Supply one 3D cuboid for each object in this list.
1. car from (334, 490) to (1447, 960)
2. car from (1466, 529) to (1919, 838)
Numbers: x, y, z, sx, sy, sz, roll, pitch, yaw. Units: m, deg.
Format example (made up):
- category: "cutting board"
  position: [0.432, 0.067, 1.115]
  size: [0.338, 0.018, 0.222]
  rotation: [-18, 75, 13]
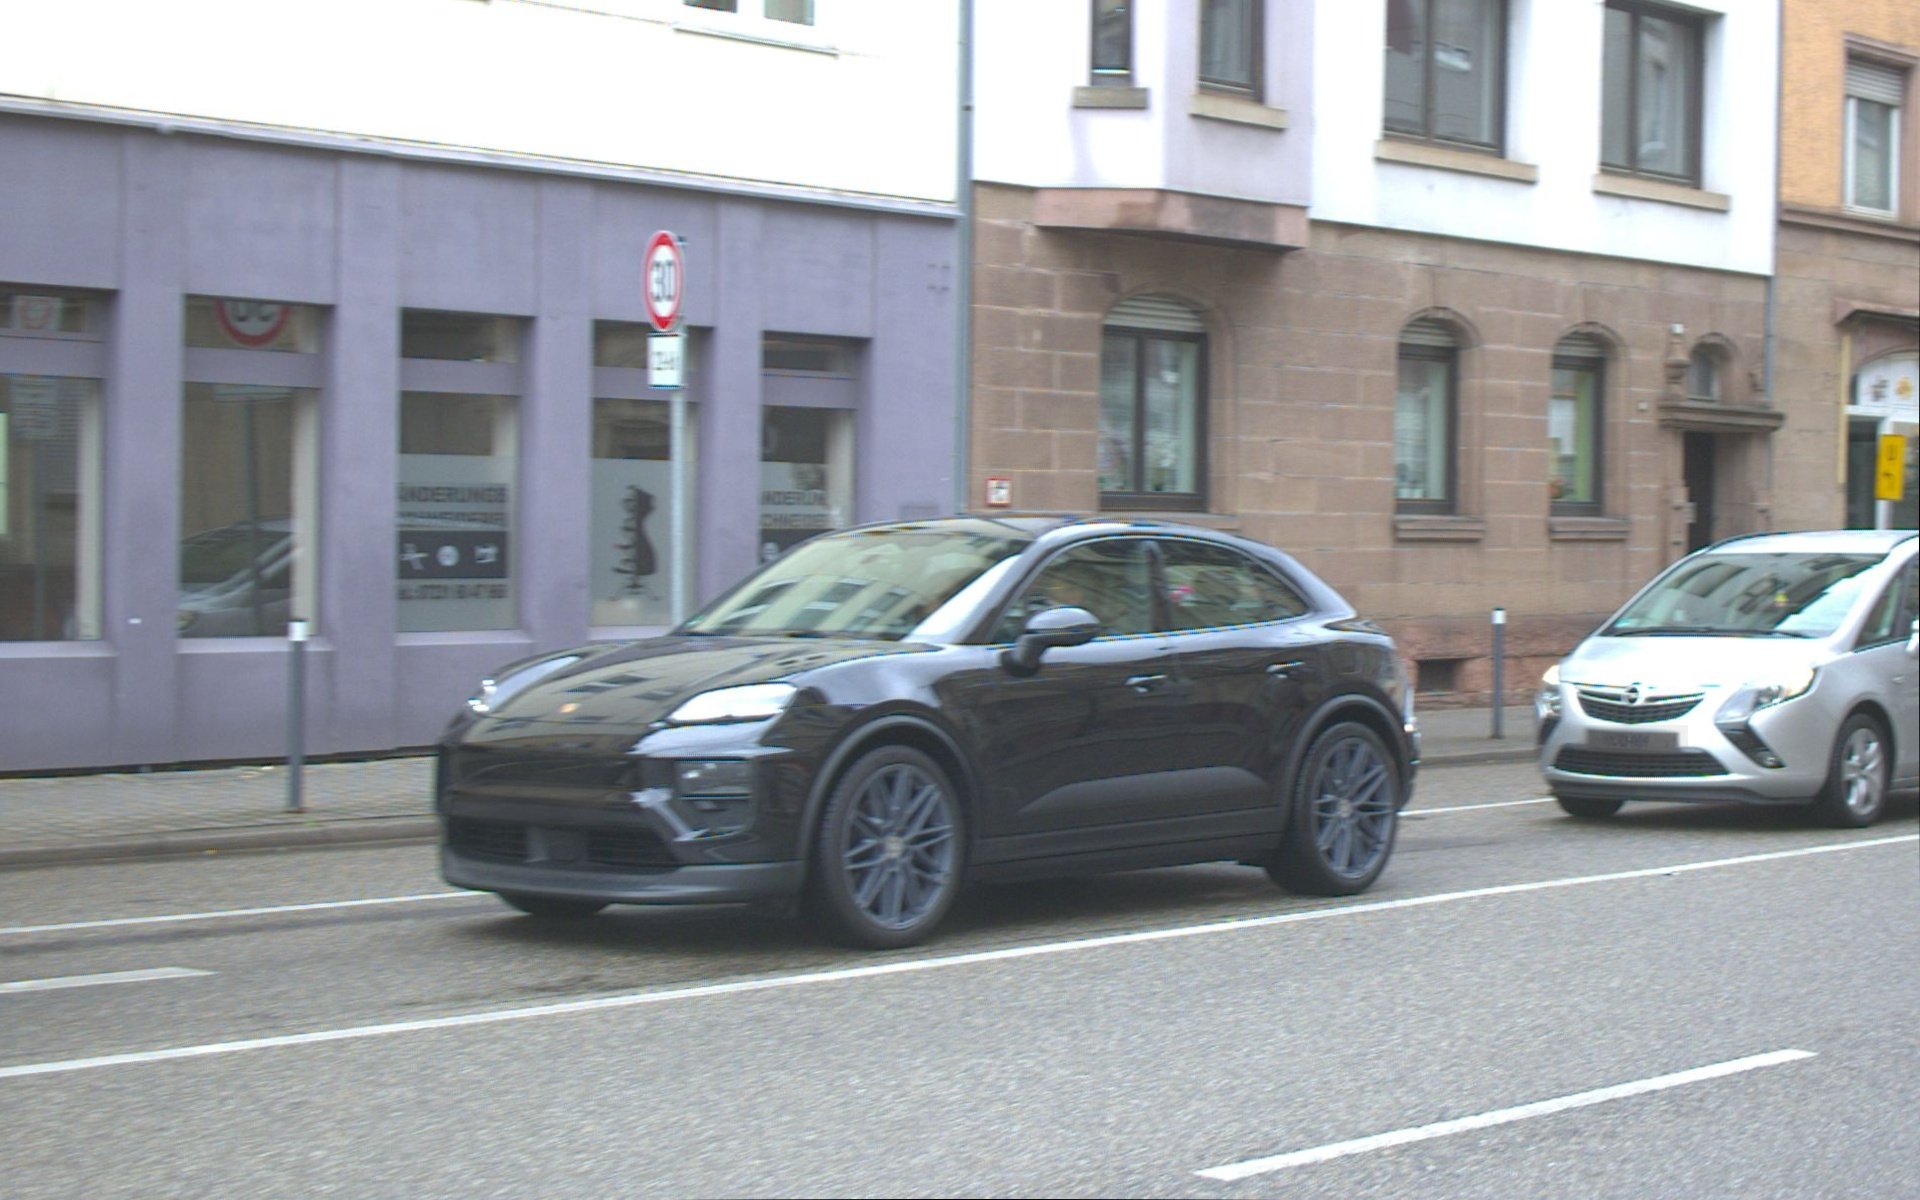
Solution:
- category: "car"
  position: [-0.101, 0.407, 13.940]
  size: [1.947, 1.578, 4.594]
  rotation: [1, 1, 40]
- category: "car"
  position: [4.985, 0.417, 19.961]
  size: [1.947, 1.578, 4.510]
  rotation: [1, 1, 40]
